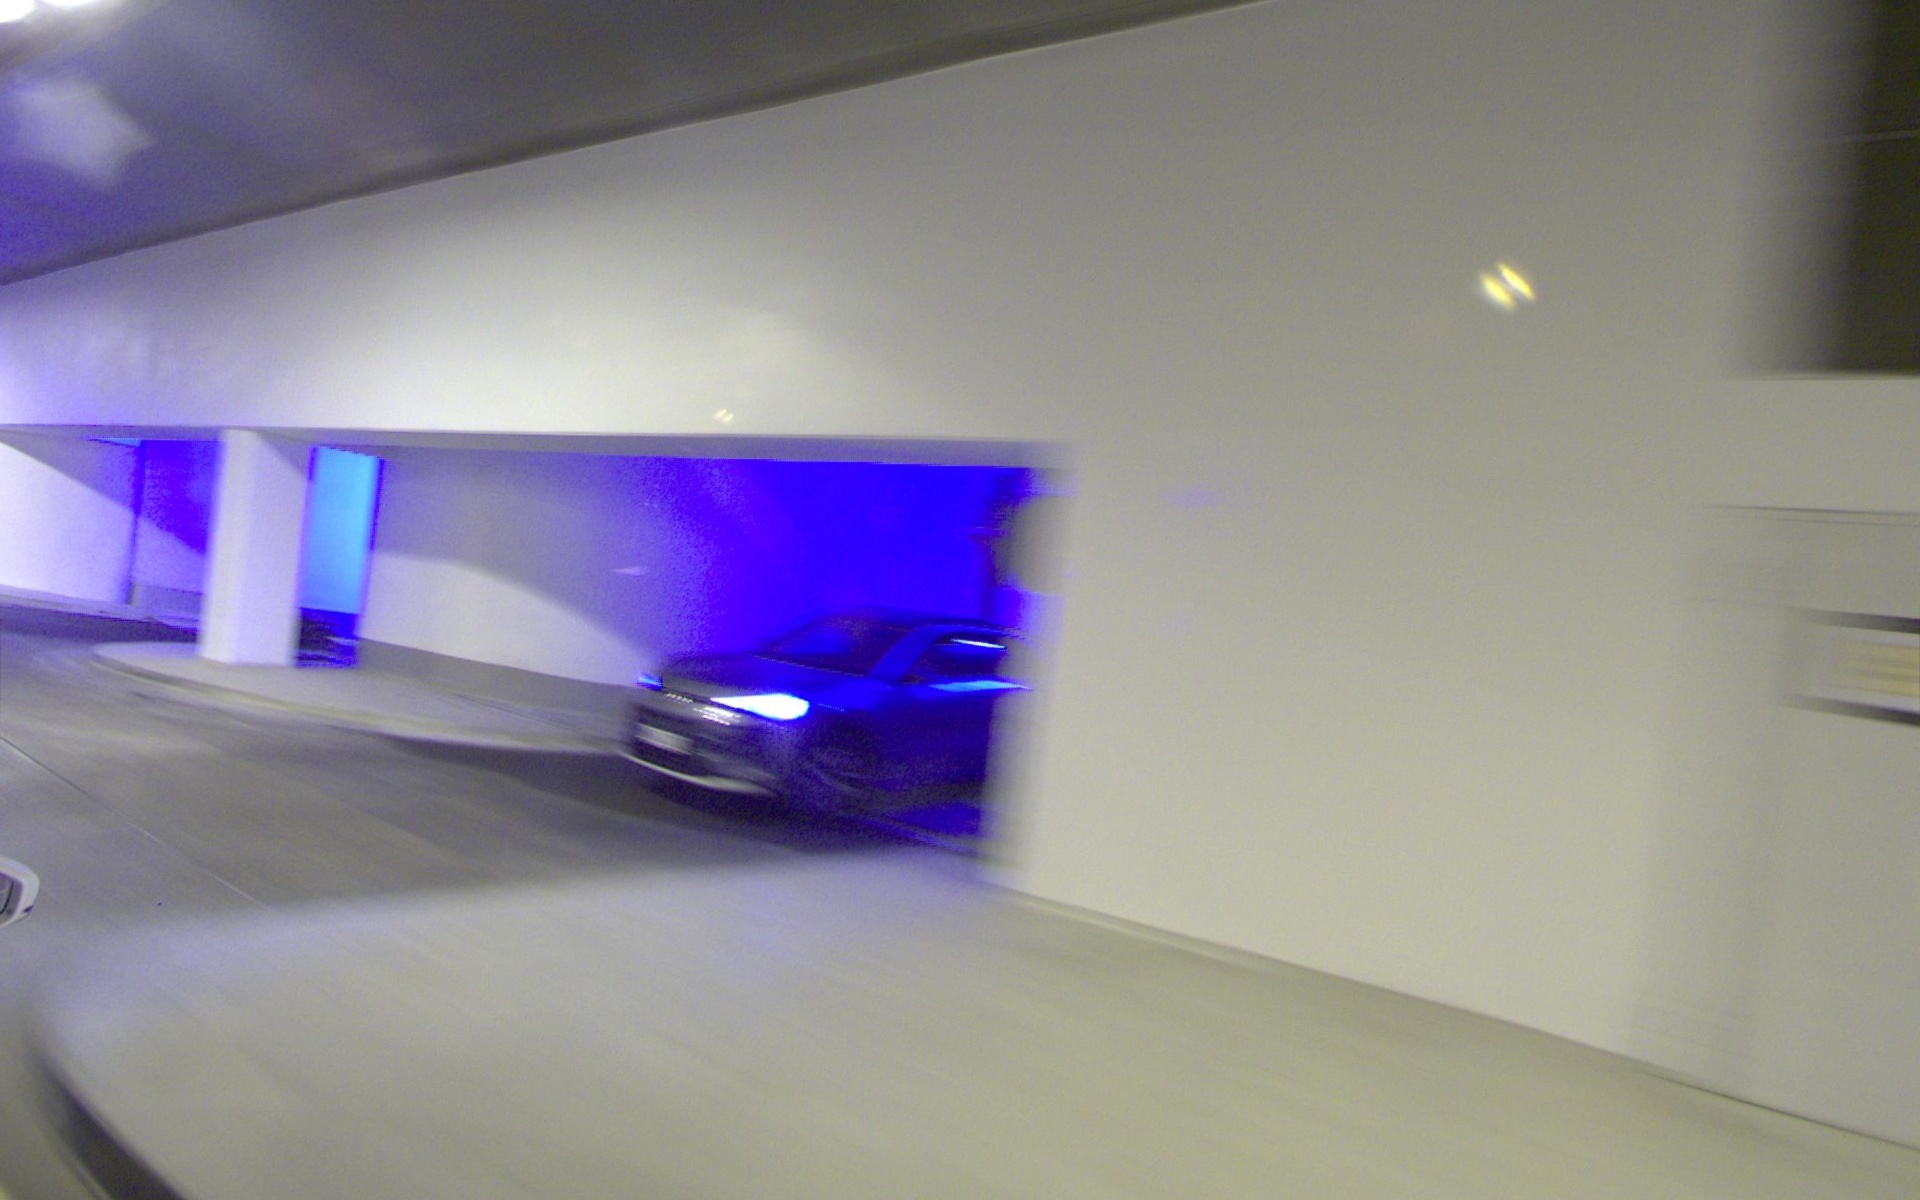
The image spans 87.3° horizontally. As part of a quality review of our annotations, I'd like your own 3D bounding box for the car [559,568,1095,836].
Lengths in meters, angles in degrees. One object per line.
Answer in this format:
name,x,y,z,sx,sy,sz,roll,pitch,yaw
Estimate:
car,-0.844,0.825,8.462,1.870,1.564,4.224,6,-2,39
